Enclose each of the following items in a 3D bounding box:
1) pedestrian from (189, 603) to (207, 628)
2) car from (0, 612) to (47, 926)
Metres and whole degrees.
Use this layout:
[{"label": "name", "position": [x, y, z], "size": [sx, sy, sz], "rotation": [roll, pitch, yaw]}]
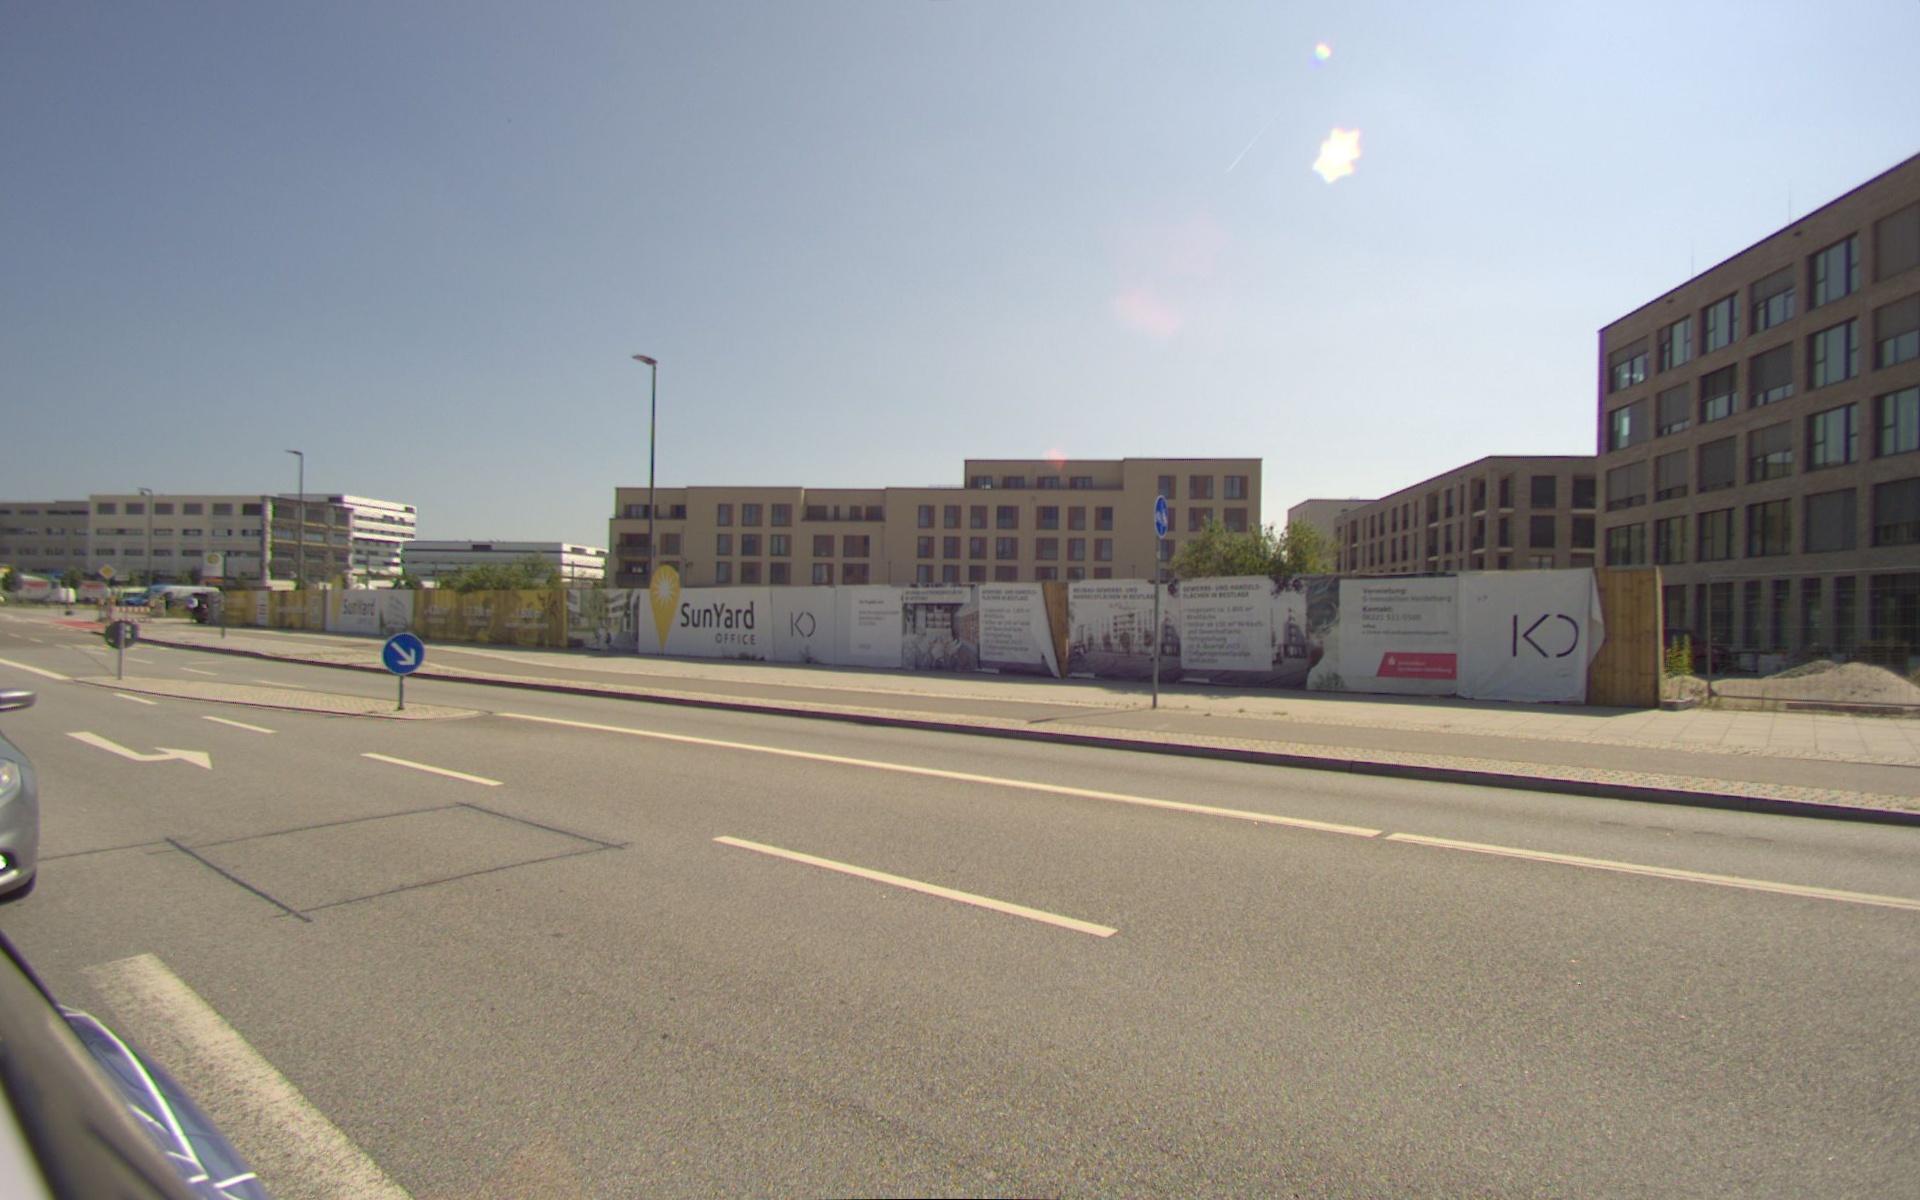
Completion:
[{"label": "pedestrian", "position": [-48.956, 0.986, 65.034], "size": [0.610, 1.598, 0.703], "rotation": [-1, 0, 5]}, {"label": "car", "position": [-6.285, 0.776, 5.304], "size": [4.134, 1.390, 1.762], "rotation": [-1, 0, 41]}]
